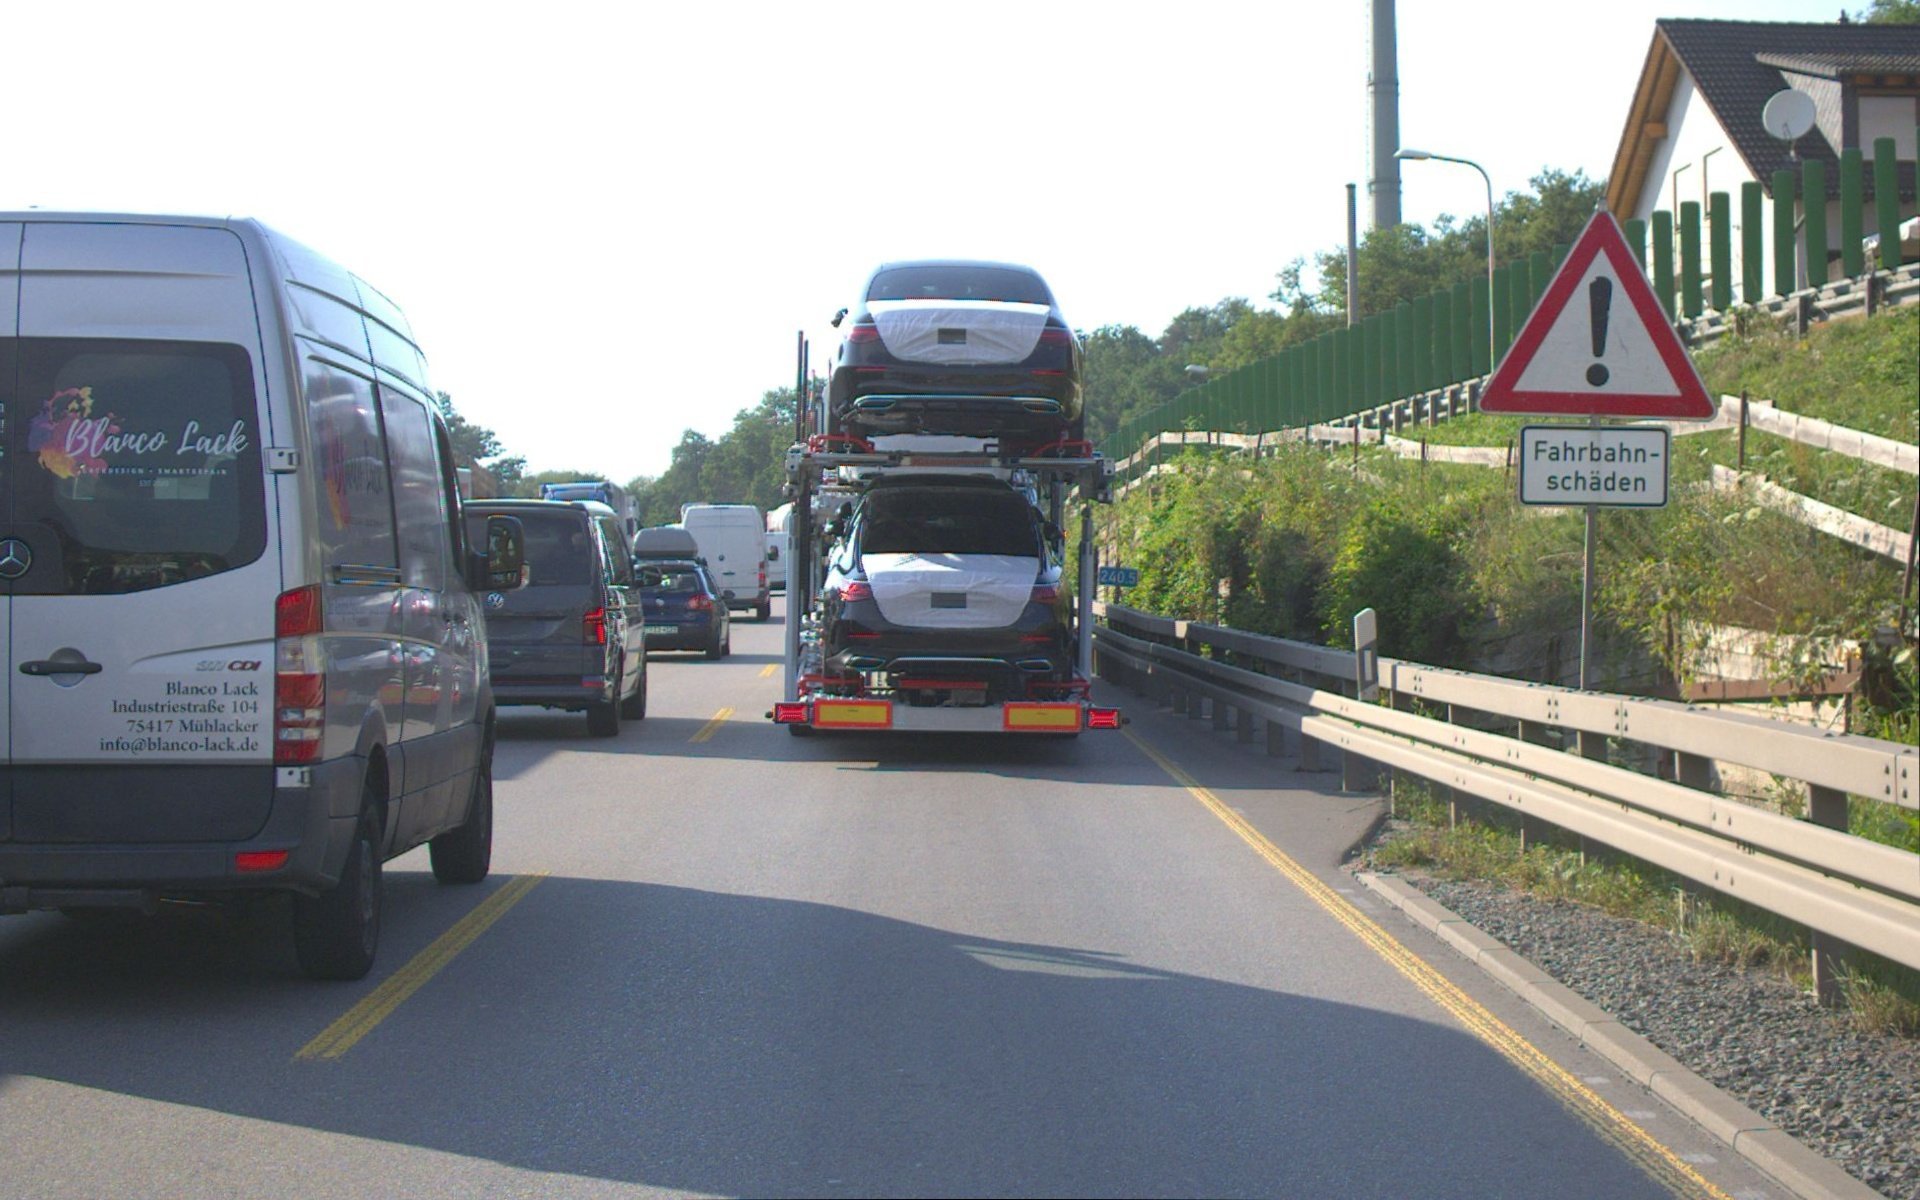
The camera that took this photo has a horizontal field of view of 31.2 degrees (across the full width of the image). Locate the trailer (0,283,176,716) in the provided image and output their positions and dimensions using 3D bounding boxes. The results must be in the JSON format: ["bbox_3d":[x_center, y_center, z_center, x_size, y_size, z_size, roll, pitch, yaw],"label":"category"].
[{"bbox_3d":[-10.889,-0.999,35.109,2.913,4.225,13.770,1,0,-2],"label":"trailer"}]

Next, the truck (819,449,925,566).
[{"bbox_3d":[-3.582,-3.767,142.609,4.065,4.663,10.592,0,1,0],"label":"truck"}]

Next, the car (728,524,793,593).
[{"bbox_3d":[-6.251,-1.307,107.848,1.885,2.093,3.766,1,1,-1],"label":"car"}]

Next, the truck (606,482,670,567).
[{"bbox_3d":[-16.483,-3.796,176.890,2.982,4.139,15.858,1,1,-4],"label":"truck"}]

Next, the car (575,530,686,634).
[{"bbox_3d":[-8.194,-0.447,85.731,2.471,2.525,4.000,0,0,-1],"label":"car"}]

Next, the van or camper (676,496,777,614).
[{"bbox_3d":[-5.287,-0.992,78.408,1.968,2.583,5.042,1,0,-1],"label":"van or camper"}]

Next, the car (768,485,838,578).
[{"bbox_3d":[-8.759,-3.780,190.801,3.444,5.018,9.654,1,1,-5],"label":"car"}]

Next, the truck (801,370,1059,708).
[{"bbox_3d":[-0.356,-0.650,39.807,2.682,3.523,7.194,1,0,-1],"label":"truck"}]

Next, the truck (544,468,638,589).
[{"bbox_3d":[-13.258,-2.566,124.167,2.624,4.098,9.629,-3,1,-3],"label":"truck"}]

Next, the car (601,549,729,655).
[{"bbox_3d":[-4.456,0.002,52.364,1.725,1.517,3.974,1,1,-2],"label":"car"}]

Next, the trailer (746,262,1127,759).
[{"bbox_3d":[-0.255,-0.654,32.238,2.682,3.523,15.289,1,0,-1],"label":"trailer"}]

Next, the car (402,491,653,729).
[{"bbox_3d":[-3.682,0.093,29.872,1.808,1.897,4.000,1,0,-2],"label":"car"}]

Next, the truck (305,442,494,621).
[{"bbox_3d":[-11.549,-1.346,71.571,2.714,3.413,8.141,-2,0,-2],"label":"truck"}]

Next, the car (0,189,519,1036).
[{"bbox_3d":[-3.058,0.000,13.506,1.993,2.639,5.531,0,1,-1],"label":"car"}]

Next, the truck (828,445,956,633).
[{"bbox_3d":[-1.804,-1.546,87.799,2.907,4.591,7.287,0,1,-4],"label":"truck"}]
